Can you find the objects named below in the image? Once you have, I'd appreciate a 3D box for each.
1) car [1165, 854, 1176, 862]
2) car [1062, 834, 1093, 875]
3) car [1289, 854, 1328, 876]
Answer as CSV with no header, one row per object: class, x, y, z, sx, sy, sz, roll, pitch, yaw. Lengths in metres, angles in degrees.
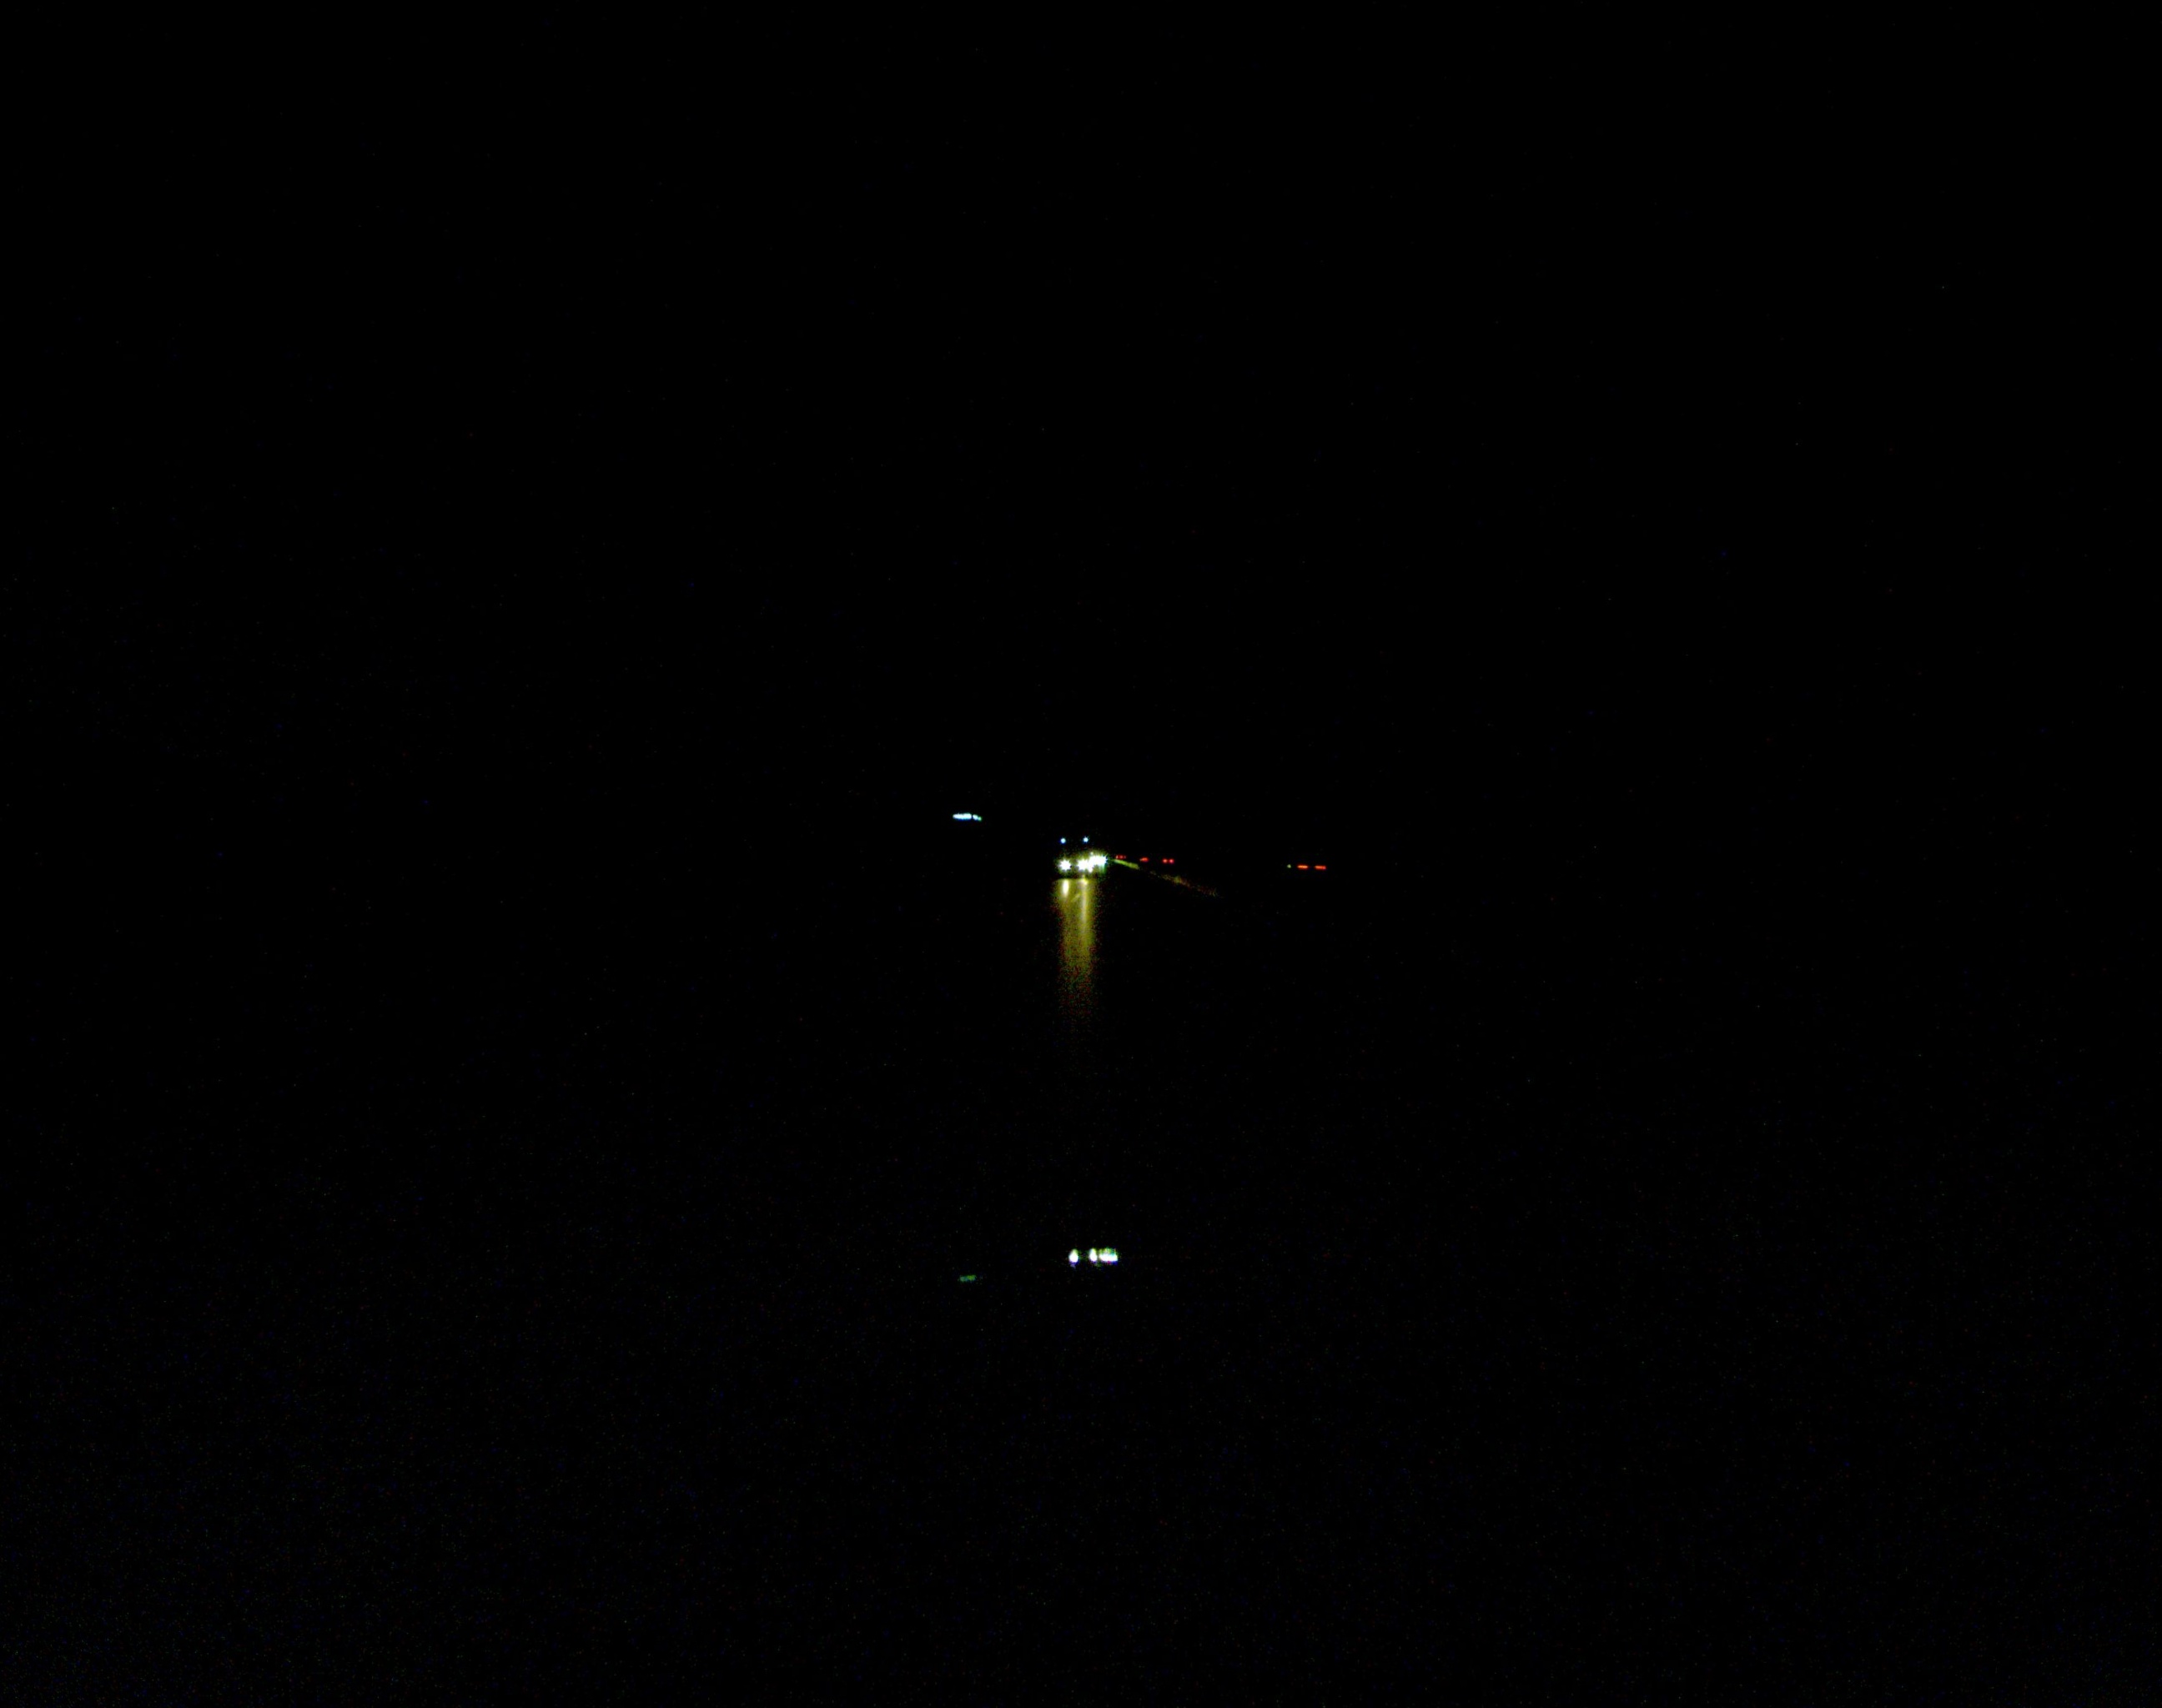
car,18.811,0.850,159.844,1.908,1.633,5.299,0,0,3
car,-0.236,0.030,64.015,2.255,3.205,6.879,-2,0,2
car,18.958,0.881,63.525,2.049,1.710,4.775,1,0,3
